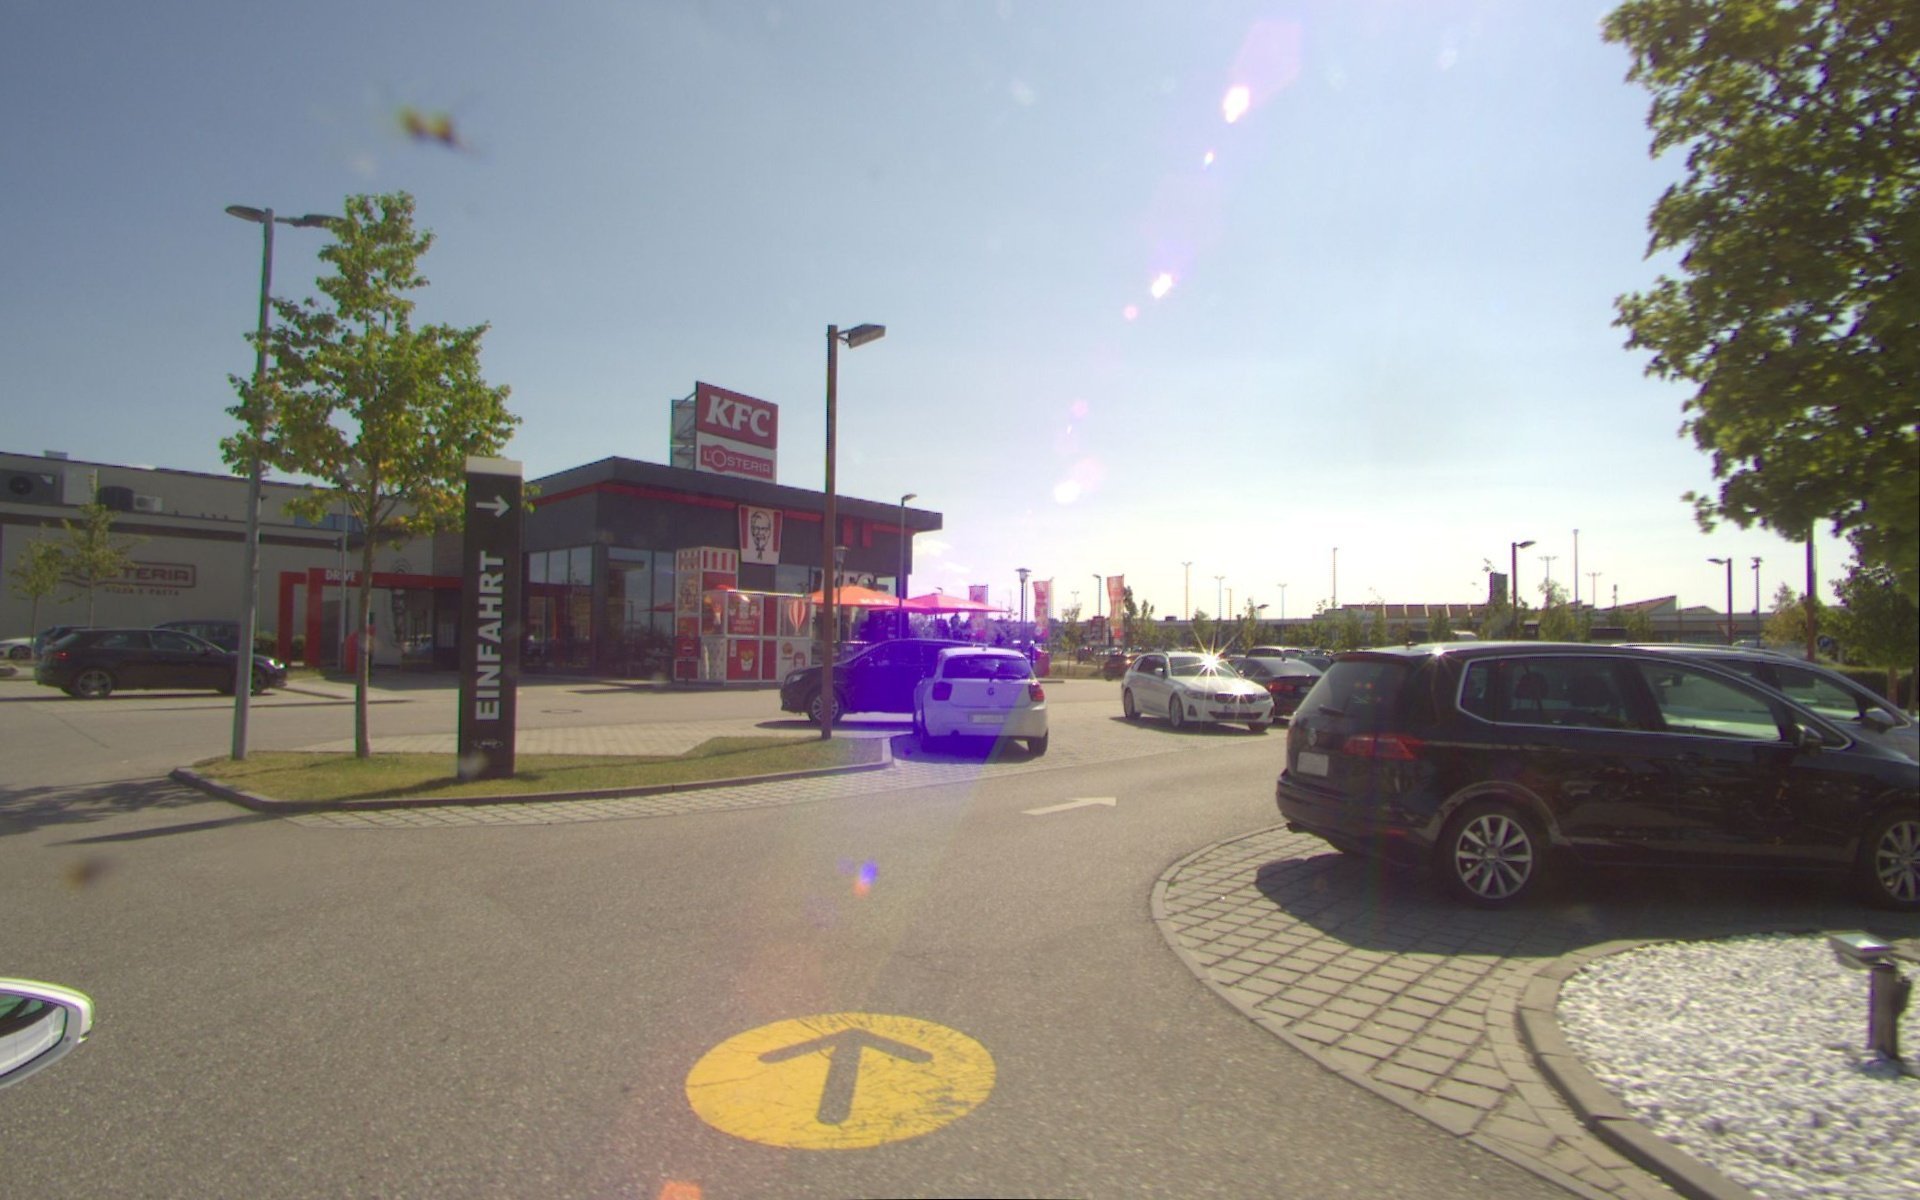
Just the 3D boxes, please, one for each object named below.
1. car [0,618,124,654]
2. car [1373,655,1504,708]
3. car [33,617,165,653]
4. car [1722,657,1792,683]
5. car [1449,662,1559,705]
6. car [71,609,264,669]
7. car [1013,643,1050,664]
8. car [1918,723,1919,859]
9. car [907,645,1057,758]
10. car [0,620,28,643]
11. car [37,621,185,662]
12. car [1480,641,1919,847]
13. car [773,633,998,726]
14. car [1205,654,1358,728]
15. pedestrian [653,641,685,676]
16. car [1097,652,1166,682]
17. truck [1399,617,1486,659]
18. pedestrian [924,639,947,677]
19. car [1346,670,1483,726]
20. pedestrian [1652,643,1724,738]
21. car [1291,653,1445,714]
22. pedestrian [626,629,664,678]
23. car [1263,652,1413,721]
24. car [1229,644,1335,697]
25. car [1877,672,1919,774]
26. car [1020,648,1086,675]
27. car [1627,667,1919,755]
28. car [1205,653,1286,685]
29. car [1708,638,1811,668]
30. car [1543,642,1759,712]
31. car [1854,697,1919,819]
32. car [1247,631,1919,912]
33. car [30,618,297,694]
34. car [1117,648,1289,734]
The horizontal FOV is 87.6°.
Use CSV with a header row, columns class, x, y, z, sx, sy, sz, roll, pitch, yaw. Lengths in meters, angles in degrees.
class,x,y,z,sx,sy,sz,roll,pitch,yaw
car,-39.201,1.589,43.649,1.630,1.438,3.975,0,-3,38
car,15.796,2.653,33.304,1.774,1.575,4.052,2,-3,-14
car,-36.617,1.520,42.666,1.630,1.438,3.975,0,-3,38
car,58.686,5.130,73.815,3.949,1.749,1.882,-1,-3,38
car,20.516,3.128,37.944,1.877,1.440,3.777,2,-3,-5
car,-24.321,1.234,30.886,1.620,1.706,4.359,0,-3,36
car,7.420,5.558,104.643,1.967,2.039,5.009,2,-2,-21
car,9.718,1.331,6.888,4.572,1.465,1.837,3,-3,-2
car,0.185,1.423,15.211,1.808,1.443,4.188,2,-3,-5
car,-52.490,1.653,53.332,1.976,1.171,3.971,0,-2,40
car,-31.802,1.565,37.617,1.630,1.438,3.975,0,-3,38
car,7.314,1.288,9.385,3.989,1.660,1.749,2,-2,-4
car,-1.364,1.470,18.885,4.007,1.596,1.758,1,-2,-2
car,6.998,1.949,22.223,1.786,1.420,4.002,2,-3,-5
pedestrian,-9.098,1.822,31.347,0.621,1.085,0.713,0,-2,38
car,9.134,3.562,53.134,3.717,1.472,1.673,4,-3,-41
truck,41.201,3.209,85.825,2.379,3.394,7.557,2,-2,-15
pedestrian,-0.864,2.032,35.219,0.585,1.285,0.686,1,-2,16
car,13.679,2.925,30.475,1.679,1.428,4.684,2,-3,-6
pedestrian,15.545,1.906,21.383,0.892,1.940,1.021,3,-2,-37
car,11.486,2.315,28.524,1.748,1.530,4.346,2,-3,-17
pedestrian,-9.641,1.633,30.689,0.763,1.453,0.794,0,-2,38
car,9.242,2.070,24.830,1.786,1.507,4.001,2,-3,-8
car,11.632,2.520,36.033,2.049,1.771,4.333,-1,-3,42
car,16.835,1.929,15.067,4.454,1.530,1.888,1,-2,-3
car,5.319,3.519,57.245,3.717,1.472,1.673,4,-3,-41
car,16.125,2.182,19.988,4.331,1.530,1.985,1,-2,-3
car,13.663,3.283,47.805,4.115,1.415,1.871,4,-3,-43
car,64.899,4.313,81.348,6.497,2.272,2.283,-1,-3,41
car,15.922,1.767,23.202,3.827,1.444,1.707,2,-2,-1
car,13.964,2.044,12.521,3.996,1.467,1.830,1,-2,-2
car,4.291,1.057,6.747,4.110,1.556,1.896,2,-2,-6
car,-16.836,1.193,21.338,1.678,1.459,4.184,0,-3,40
car,4.710,1.738,20.169,1.878,1.490,4.473,2,-3,-7
